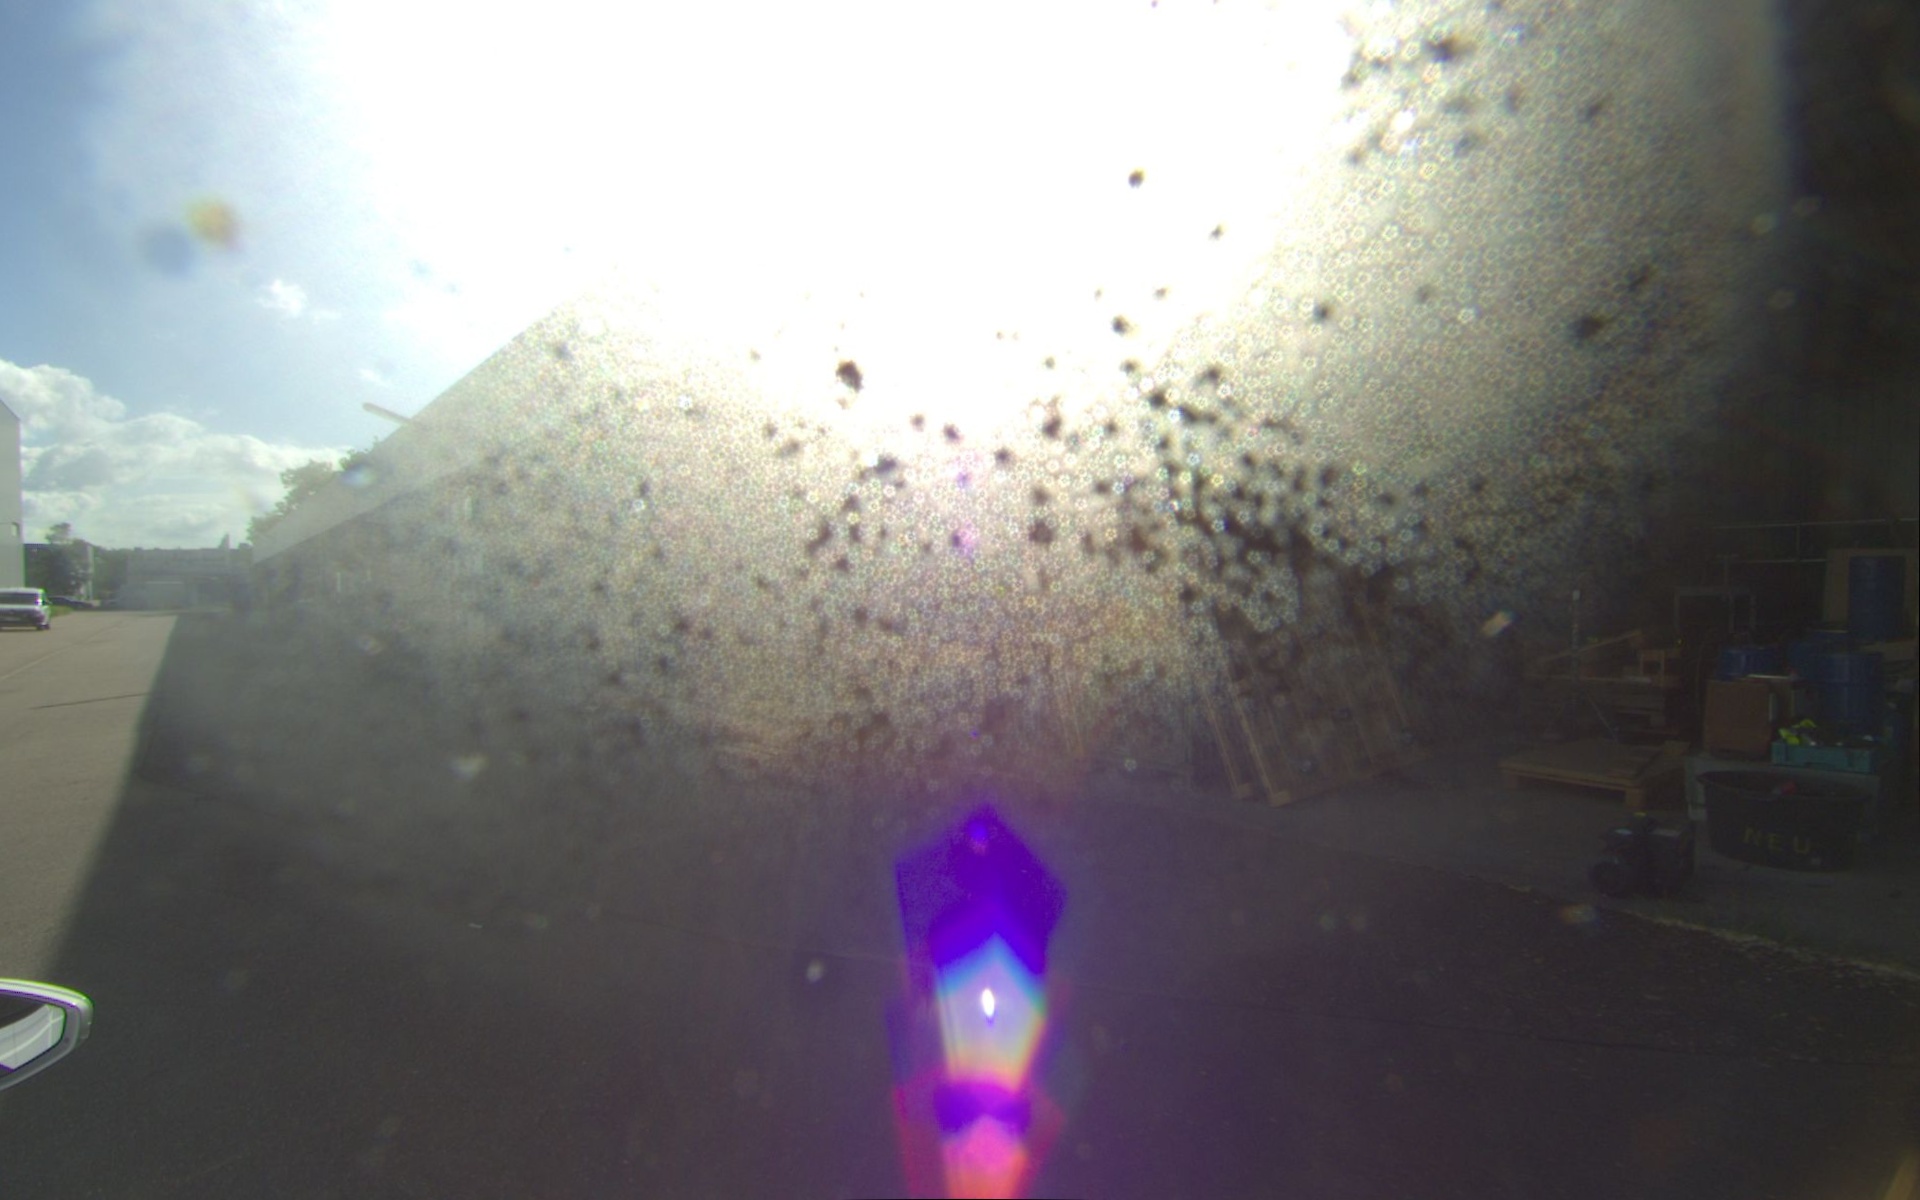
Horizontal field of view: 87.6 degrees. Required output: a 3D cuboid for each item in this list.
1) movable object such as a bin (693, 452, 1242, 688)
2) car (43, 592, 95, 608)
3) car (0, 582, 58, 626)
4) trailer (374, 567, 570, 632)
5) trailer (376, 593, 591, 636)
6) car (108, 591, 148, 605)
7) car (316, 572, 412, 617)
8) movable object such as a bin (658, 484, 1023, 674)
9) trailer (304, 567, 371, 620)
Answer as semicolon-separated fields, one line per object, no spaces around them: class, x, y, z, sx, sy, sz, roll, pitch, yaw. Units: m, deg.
movable object such as a bin;0.544;-0.405;16.566;9.112;2.949;3.186;-1;1;-38
car;-93.443;0.006;105.023;3.955;1.618;1.728;1;-2;-39
car;-40.271;0.158;43.090;1.803;1.811;4.370;1;0;-37
trailer;-16.636;-0.070;34.318;5.714;2.060;2.062;-1;2;-37
trailer;-14.927;0.402;31.623;5.800;1.148;2.123;-1;1;-40
car;-107.364;-0.227;129.277;3.955;1.618;1.833;1;-2;-39
car;-33.040;-0.236;55.548;4.394;2.339;1.902;1;-2;-37
movable object such as a bin;-2.095;-0.350;18.652;6.131;2.949;2.993;-1;1;-38
trailer;-29.407;-0.285;47.304;2.501;2.430;1.714;-1;0;-37
